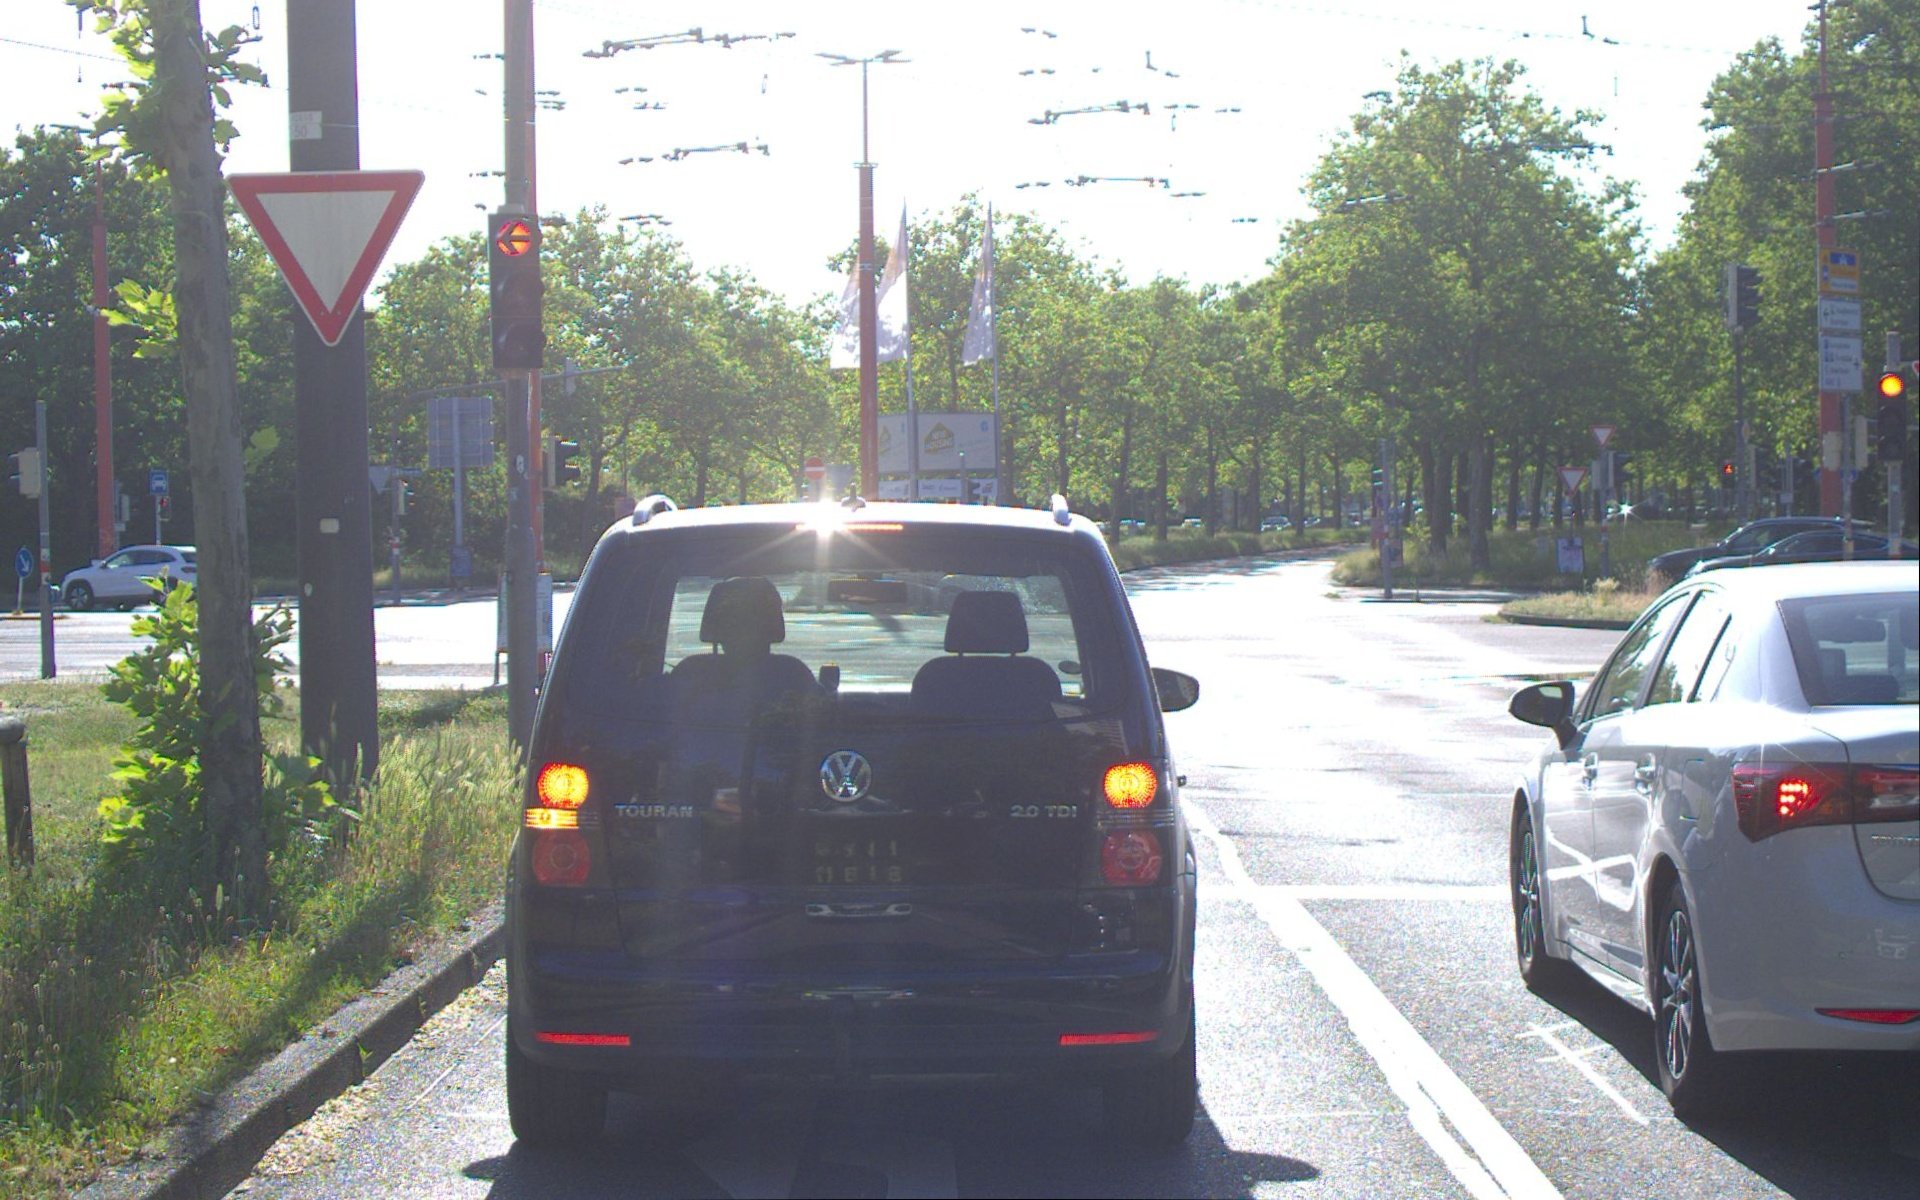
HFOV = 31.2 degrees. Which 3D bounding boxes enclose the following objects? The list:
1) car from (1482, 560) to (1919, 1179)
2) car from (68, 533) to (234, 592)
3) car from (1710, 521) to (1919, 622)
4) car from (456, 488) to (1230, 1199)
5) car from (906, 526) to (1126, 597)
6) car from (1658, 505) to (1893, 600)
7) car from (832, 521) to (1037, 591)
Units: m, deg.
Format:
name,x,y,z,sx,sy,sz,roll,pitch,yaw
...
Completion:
name,x,y,z,sx,sy,sz,roll,pitch,yaw
car,2.762,0.616,10.160,1.799,1.435,4.326,1,1,1
car,-19.726,-0.932,83.805,3.797,1.398,1.654,1,1,28
car,15.884,-0.539,62.309,4.126,1.784,1.796,1,1,31
car,-0.249,0.535,9.982,1.738,1.597,4.326,1,1,1
car,1.118,-0.794,69.157,4.125,1.398,1.654,1,1,27
car,15.712,-0.921,66.256,4.124,1.784,1.796,1,1,26
car,-0.562,-0.967,74.185,4.124,1.466,1.654,1,1,26
